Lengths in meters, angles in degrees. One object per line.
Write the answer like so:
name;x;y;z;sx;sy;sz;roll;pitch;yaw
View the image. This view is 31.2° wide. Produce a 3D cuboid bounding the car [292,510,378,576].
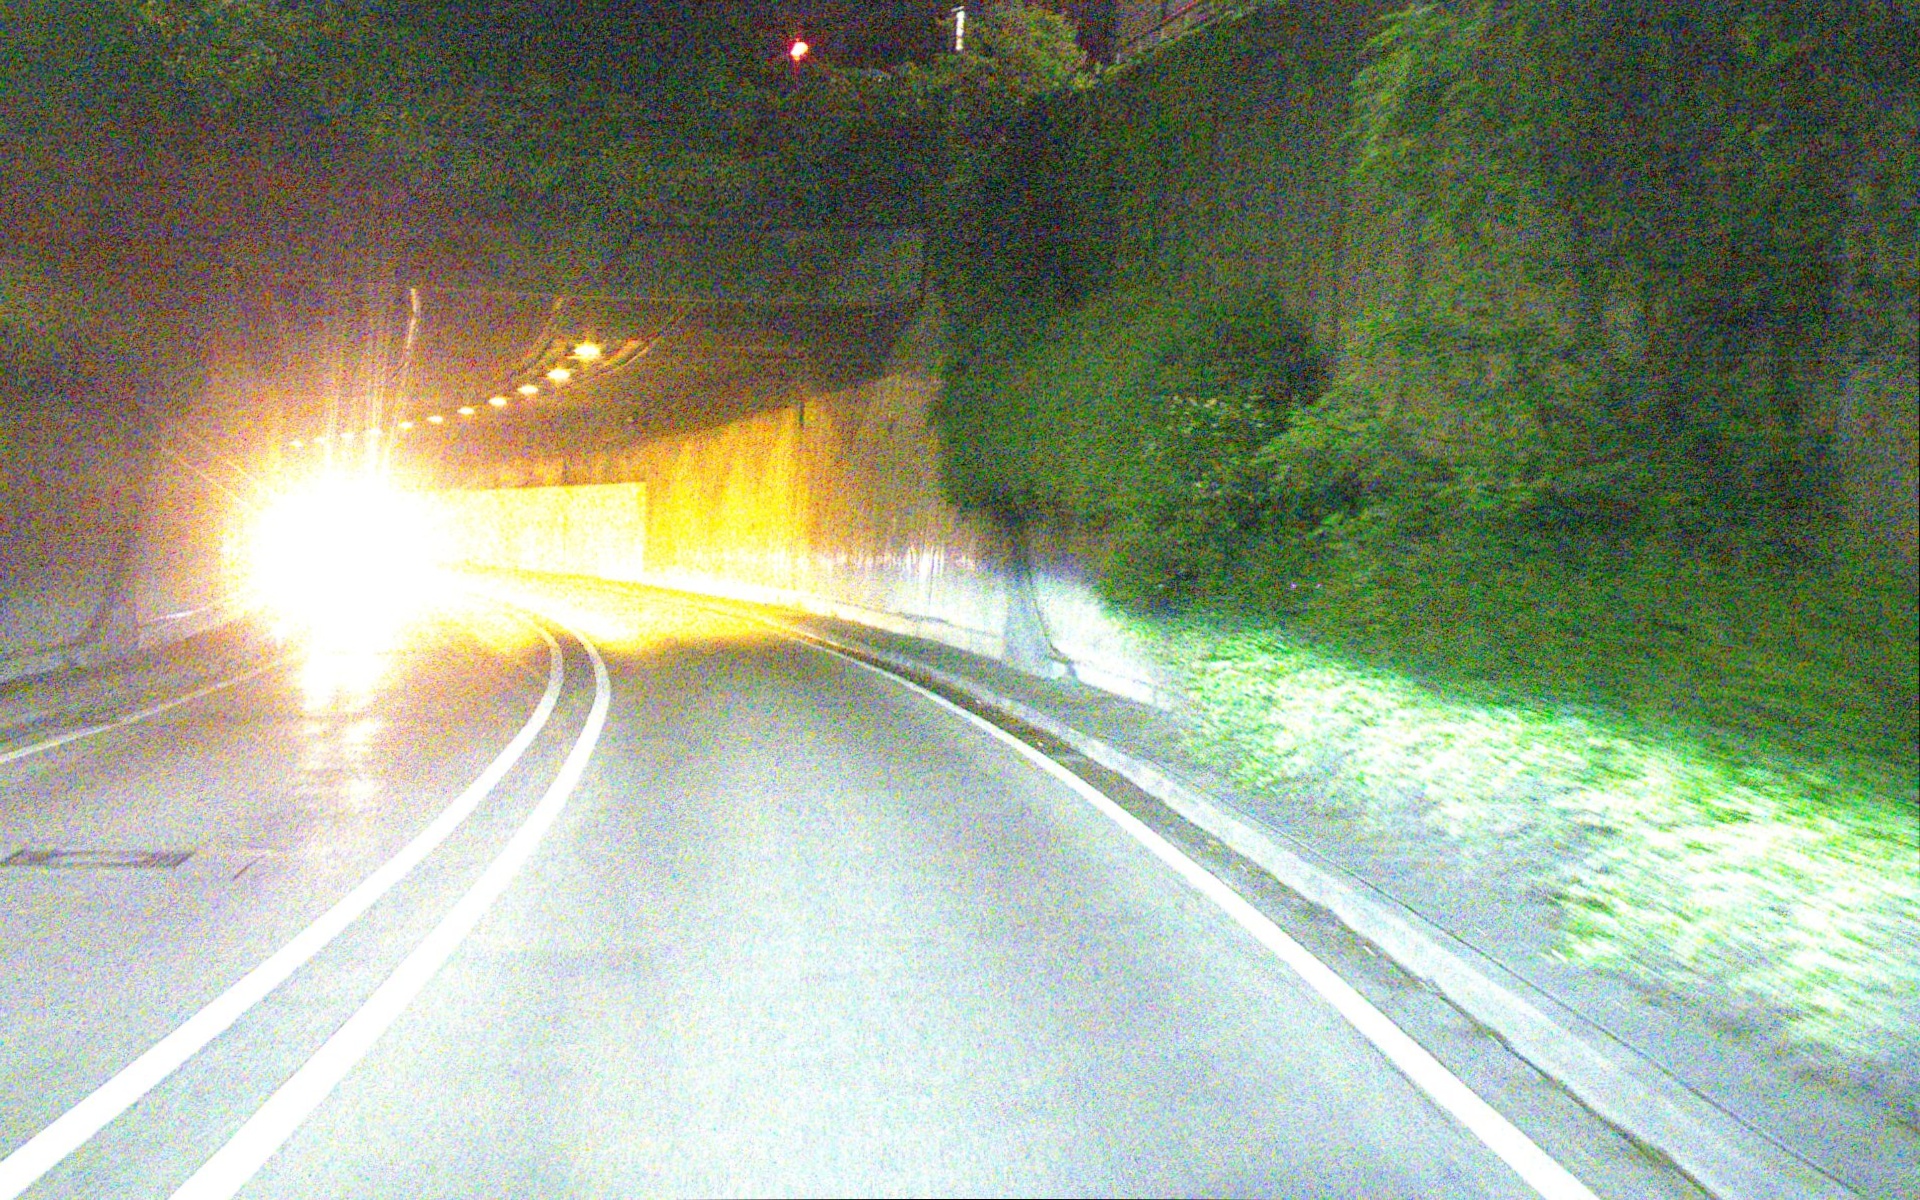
car;-18.817;-1.732;103.370;1.993;1.734;4.001;6;0;-16
